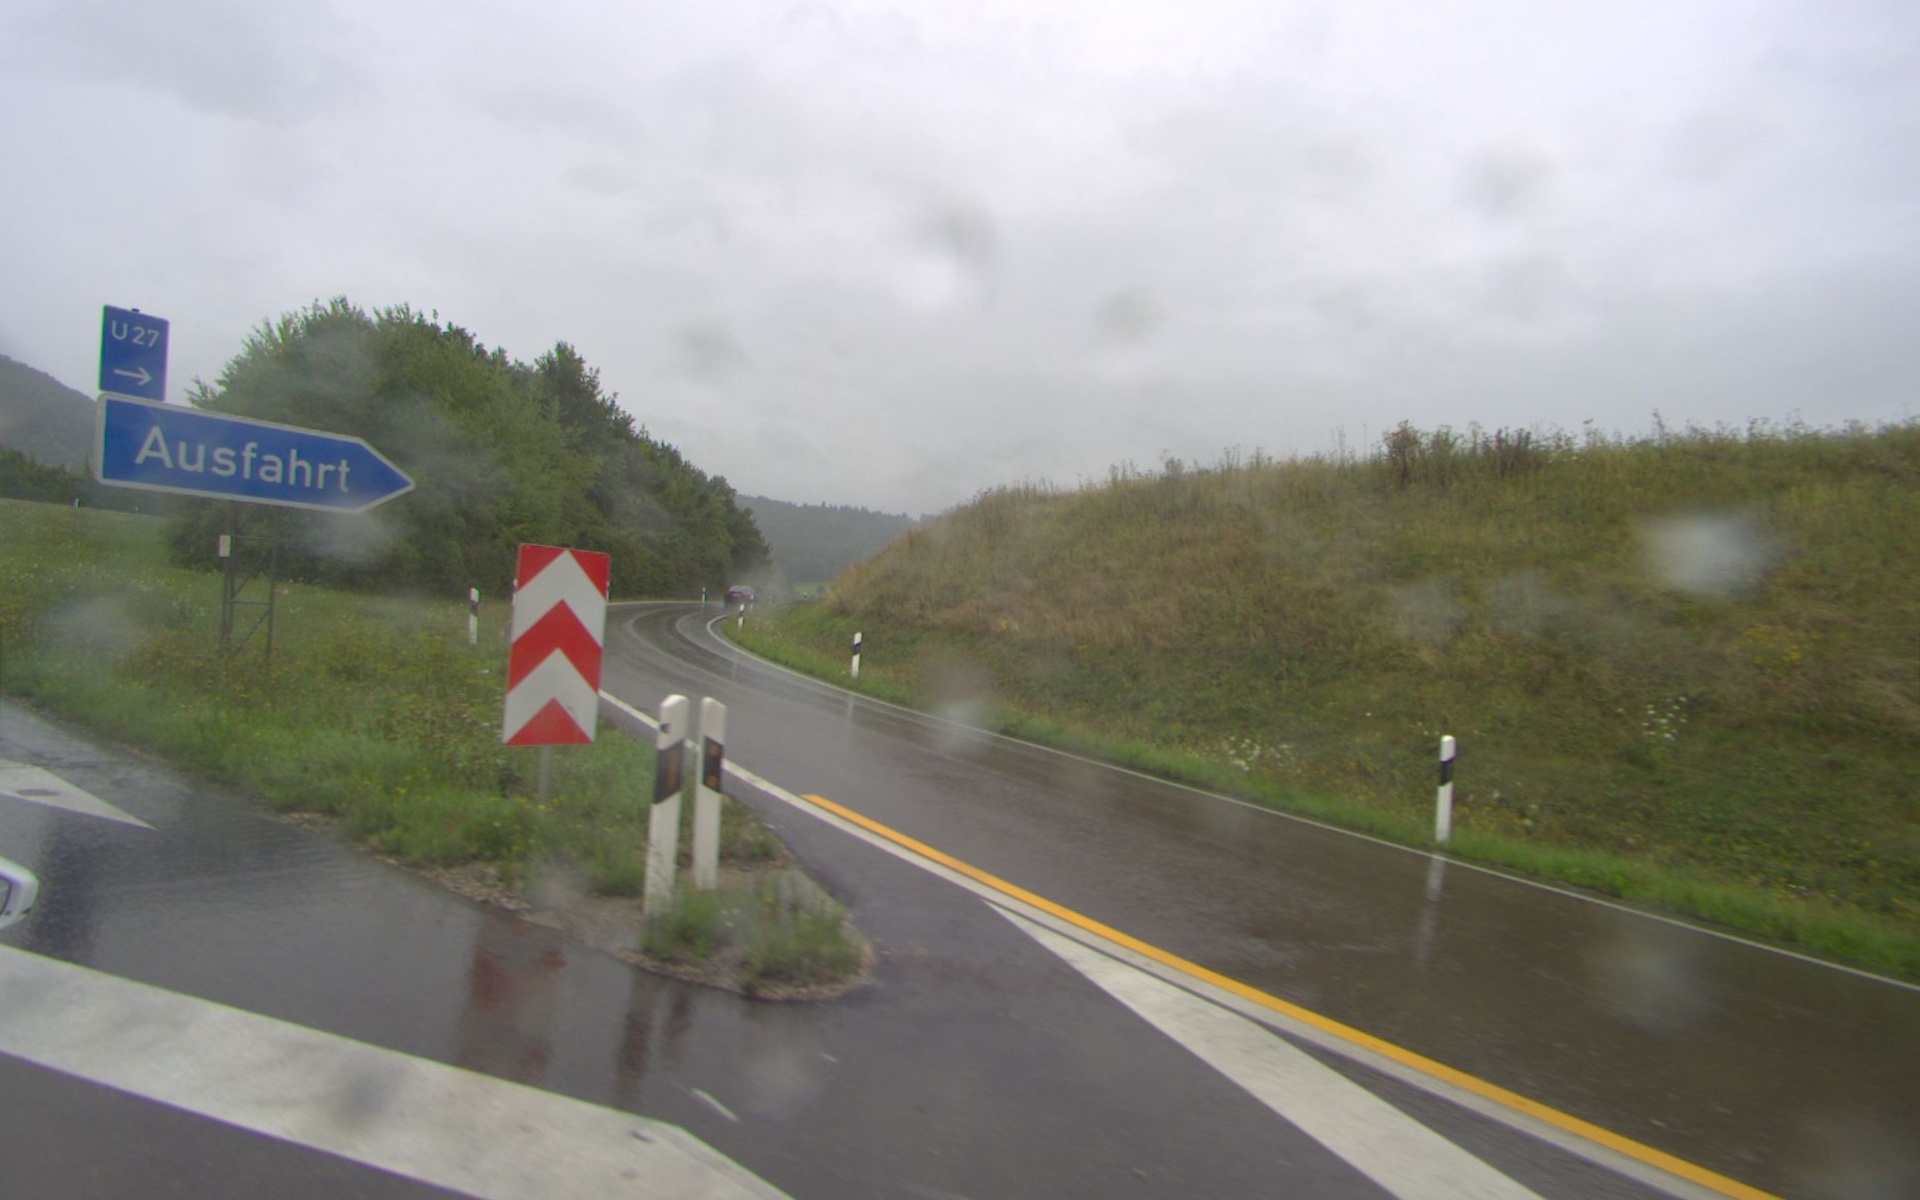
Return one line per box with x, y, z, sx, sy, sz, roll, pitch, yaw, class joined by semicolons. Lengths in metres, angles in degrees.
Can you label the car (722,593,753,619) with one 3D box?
-15.060;0.421;68.134;1.678;1.525;3.630;8;-2;-9;car
